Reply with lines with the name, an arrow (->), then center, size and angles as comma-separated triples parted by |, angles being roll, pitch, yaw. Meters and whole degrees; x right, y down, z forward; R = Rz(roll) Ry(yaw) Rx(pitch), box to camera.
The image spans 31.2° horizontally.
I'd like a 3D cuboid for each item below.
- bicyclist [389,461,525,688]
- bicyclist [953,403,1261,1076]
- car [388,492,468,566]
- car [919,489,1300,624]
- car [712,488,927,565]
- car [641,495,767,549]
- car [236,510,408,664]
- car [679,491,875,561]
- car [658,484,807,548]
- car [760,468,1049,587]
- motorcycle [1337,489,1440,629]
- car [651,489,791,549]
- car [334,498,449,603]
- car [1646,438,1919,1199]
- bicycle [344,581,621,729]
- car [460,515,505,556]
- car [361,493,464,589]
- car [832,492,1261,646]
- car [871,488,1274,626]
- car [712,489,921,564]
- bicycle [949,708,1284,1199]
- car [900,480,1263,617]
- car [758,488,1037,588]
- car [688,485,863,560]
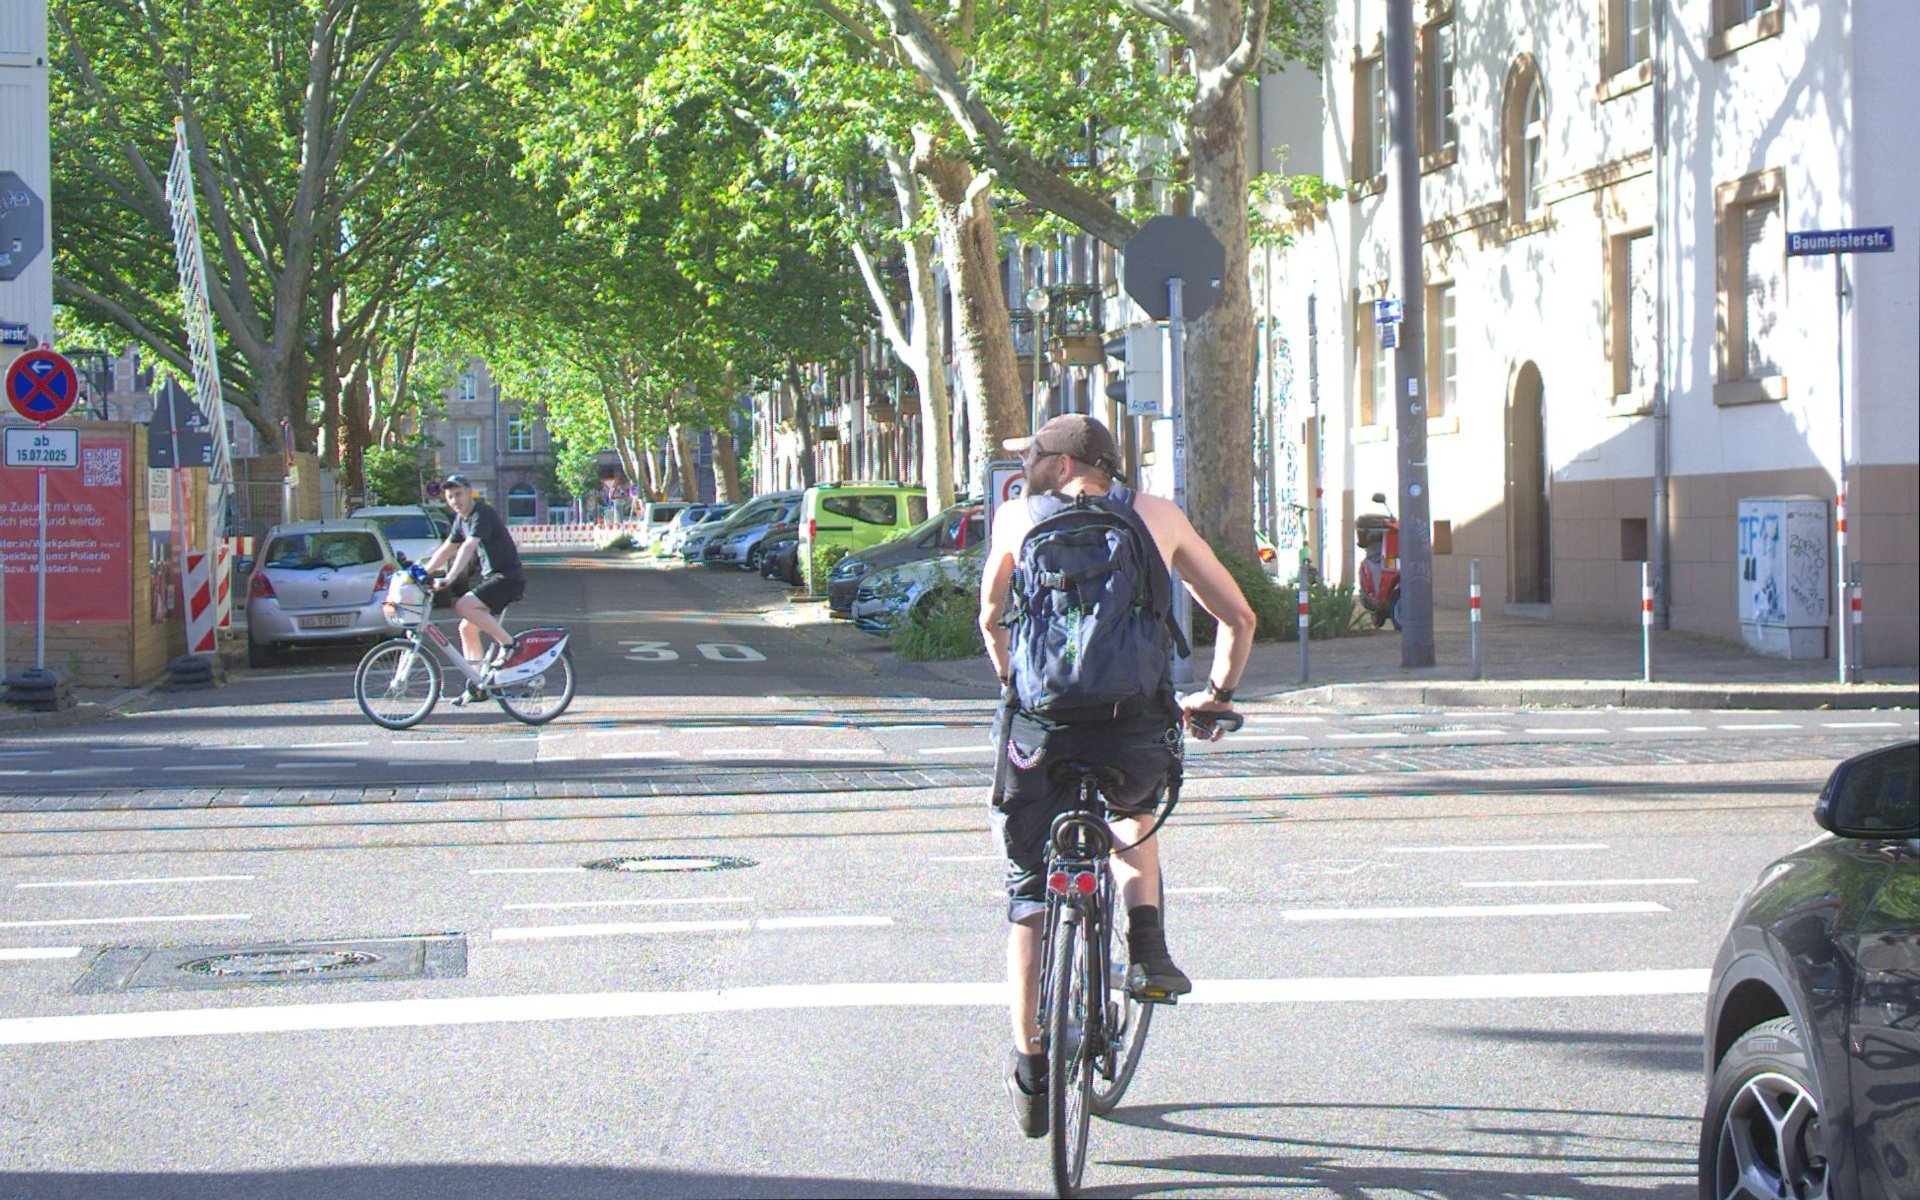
bicyclist -> -3.741, -0.200, 25.565 | 0.809, 1.652, 0.682 | -2, 2, -25
bicyclist -> 0.330, 0.306, 8.064 | 0.676, 1.507, 0.669 | 1, 1, 0
car -> -11.737, -1.591, 75.817 | 1.665, 1.557, 4.618 | -1, 2, -9
car -> 1.822, -0.562, 42.613 | 4.460, 1.565, 1.729 | -1, 2, -8
car -> -3.033, -1.588, 73.962 | 4.460, 1.565, 1.729 | -1, 2, -8
car -> -9.350, -2.855, 125.369 | 4.460, 1.891, 1.729 | -1, 2, -8
car -> -6.912, -0.188, 37.541 | 1.643, 1.489, 4.001 | -3, 2, -9
car -> -4.339, -1.747, 81.102 | 4.460, 1.565, 1.729 | -1, 2, -8
car -> -7.043, -2.611, 106.173 | 4.460, 1.891, 1.729 | -1, 2, -8
car -> -0.914, -1.181, 55.522 | 4.460, 1.830, 1.729 | -1, 2, -8
motorcycle -> 4.205, -0.420, 33.847 | 0.513, 1.328, 1.764 | -1, 2, -9
car -> -7.908, -2.690, 113.559 | 4.460, 1.891, 1.729 | -1, 2, -8
car -> -8.827, -0.803, 53.554 | 1.665, 1.557, 4.001 | -1, 2, -9
car -> 2.265, 0.618, 4.486 | 1.760, 1.656, 4.198 | 1, 2, -2
bicycle -> -3.560, 0.394, 25.660 | 1.915, 1.015, 0.682 | -2, 2, -25
car -> -18.921, -2.551, 136.118 | 1.665, 1.557, 4.220 | -1, 2, -9
car -> -9.422, -1.042, 59.228 | 1.665, 1.557, 4.520 | -1, 2, -9
car -> 0.915, -0.366, 37.650 | 4.460, 1.565, 1.729 | -1, 2, -8
car -> 1.279, -0.524, 40.164 | 4.460, 1.495, 1.729 | -1, 2, -8
car -> -3.207, -1.642, 76.434 | 4.460, 1.565, 1.729 | -1, 2, -8
bicycle -> 0.326, 0.821, 8.150 | 0.689, 1.013, 1.907 | 1, 2, 0
car -> 1.556, -0.684, 44.682 | 4.460, 1.665, 1.729 | -1, 2, -8
car -> -1.068, -1.053, 57.538 | 4.460, 1.565, 1.729 | -1, 2, -8
car -> -4.880, -2.051, 90.743 | 4.460, 1.891, 1.729 | -1, 2, -8
